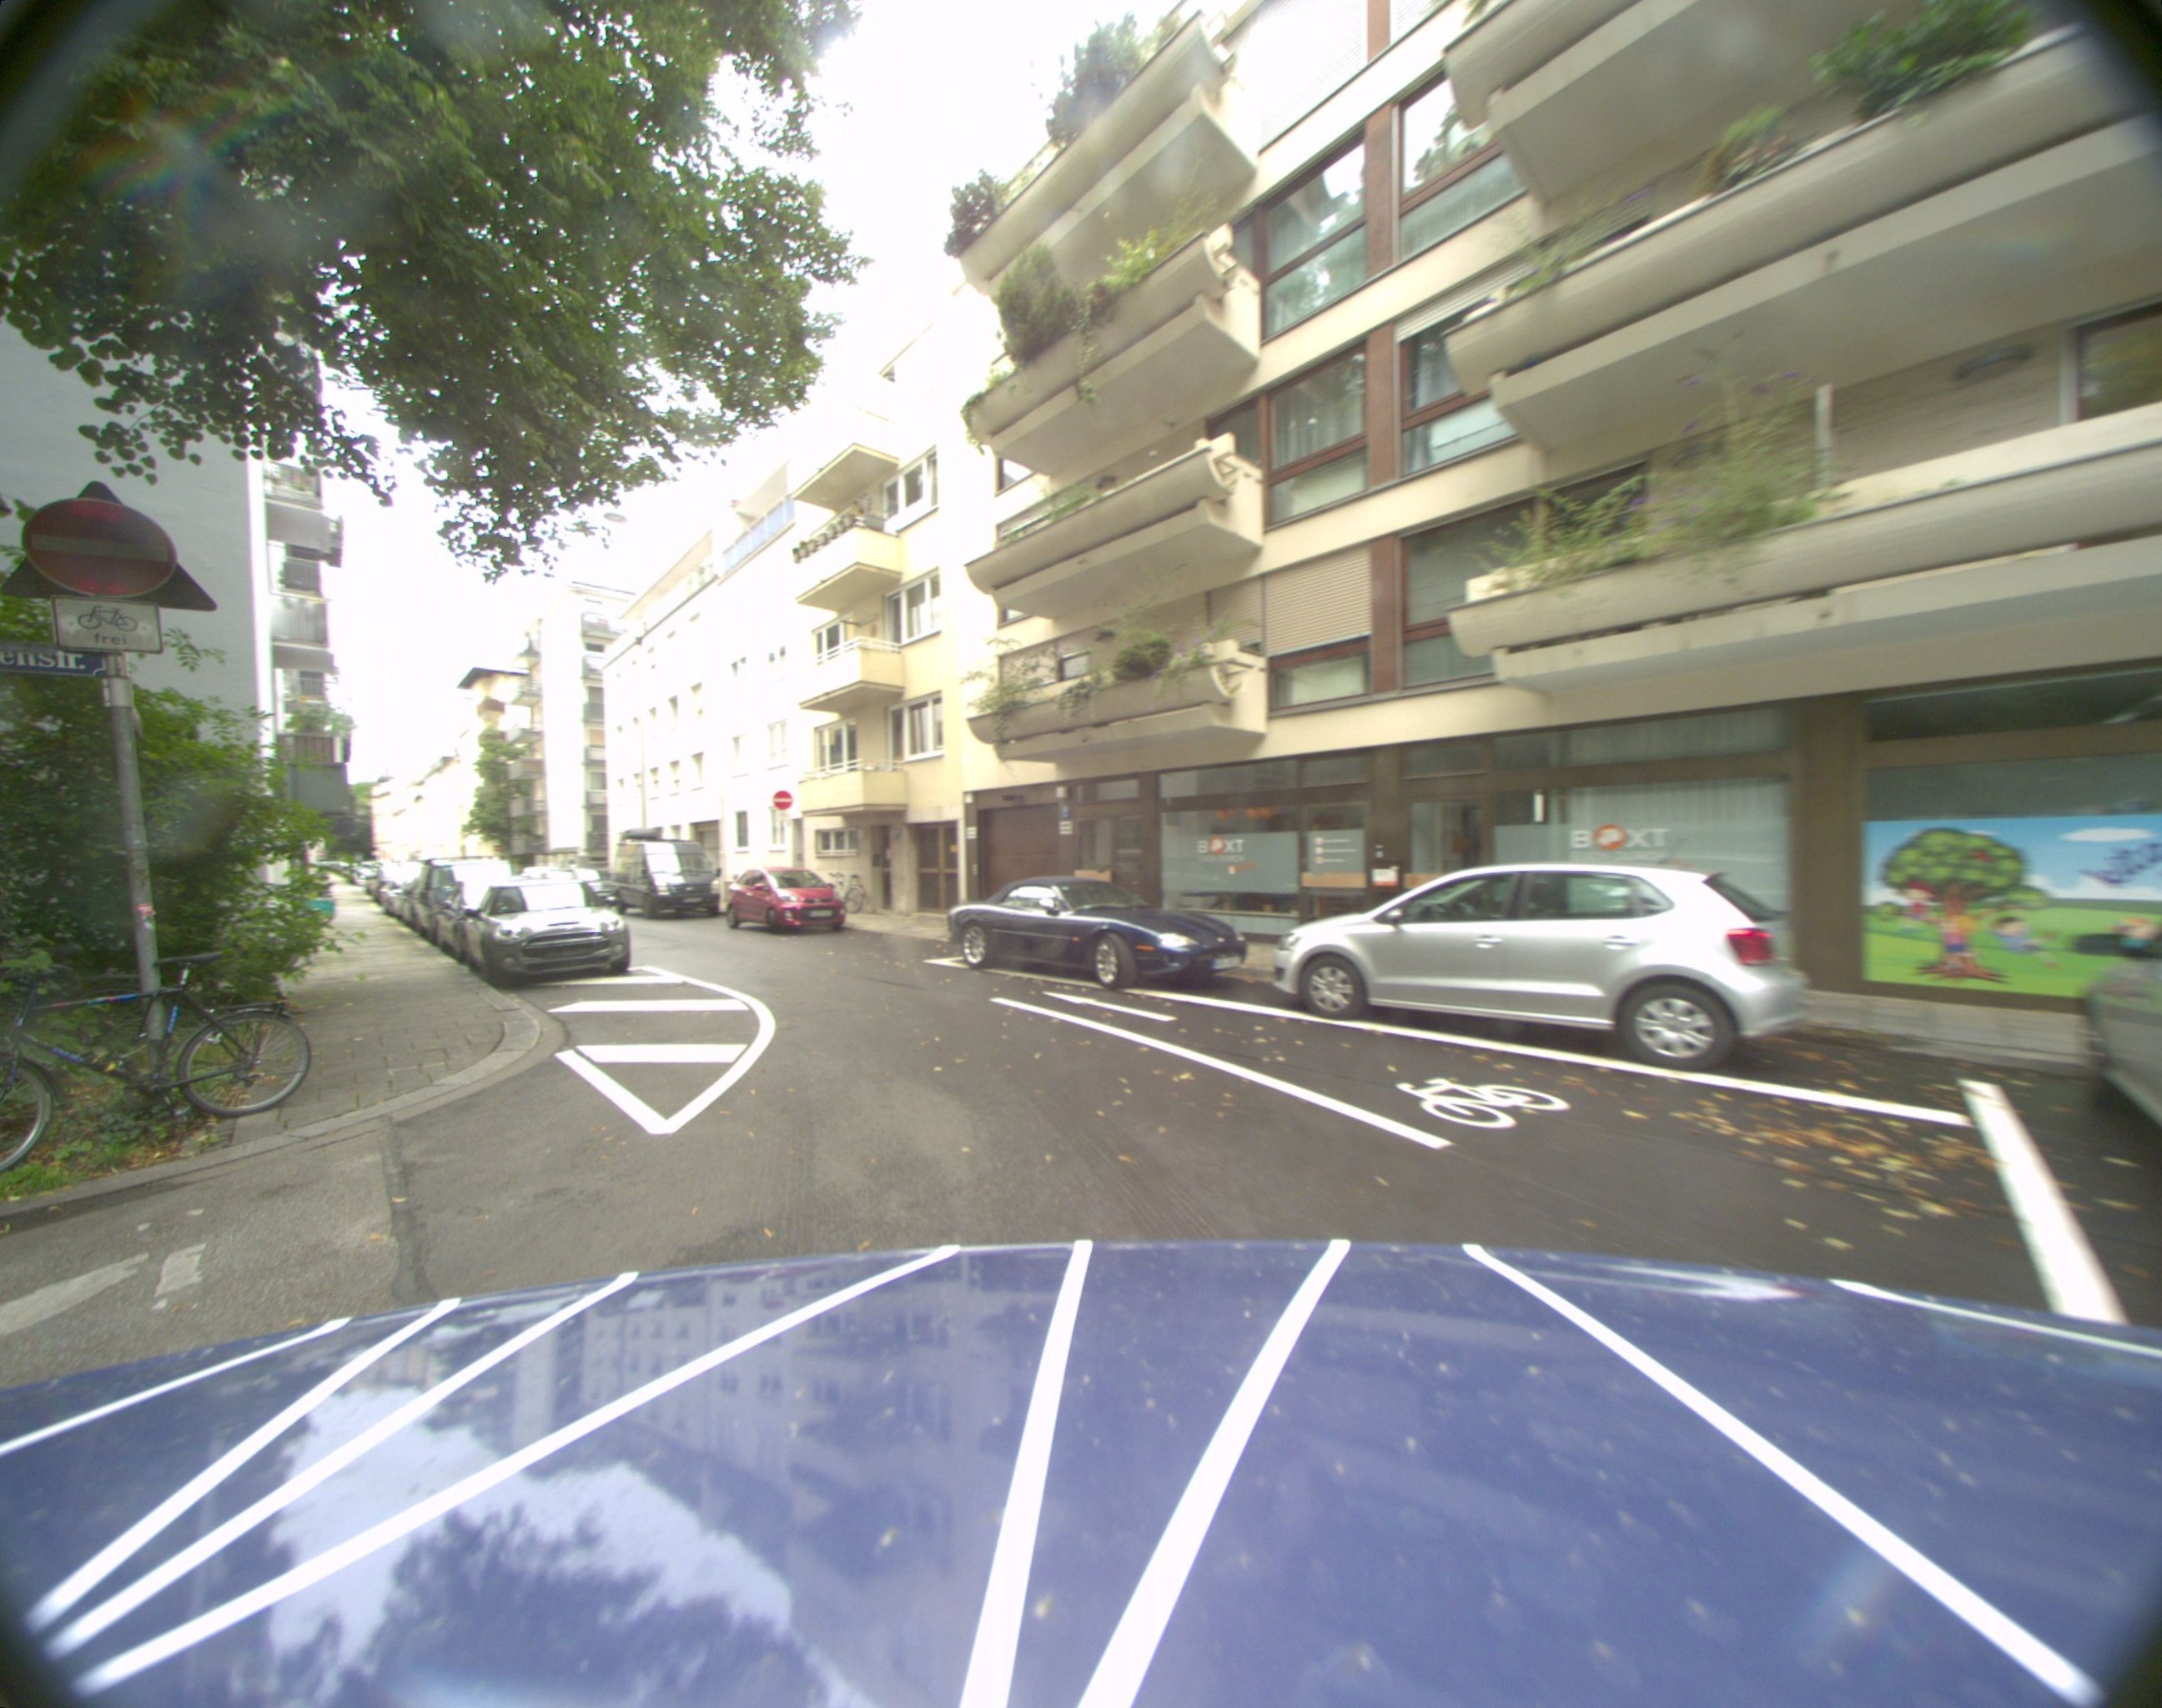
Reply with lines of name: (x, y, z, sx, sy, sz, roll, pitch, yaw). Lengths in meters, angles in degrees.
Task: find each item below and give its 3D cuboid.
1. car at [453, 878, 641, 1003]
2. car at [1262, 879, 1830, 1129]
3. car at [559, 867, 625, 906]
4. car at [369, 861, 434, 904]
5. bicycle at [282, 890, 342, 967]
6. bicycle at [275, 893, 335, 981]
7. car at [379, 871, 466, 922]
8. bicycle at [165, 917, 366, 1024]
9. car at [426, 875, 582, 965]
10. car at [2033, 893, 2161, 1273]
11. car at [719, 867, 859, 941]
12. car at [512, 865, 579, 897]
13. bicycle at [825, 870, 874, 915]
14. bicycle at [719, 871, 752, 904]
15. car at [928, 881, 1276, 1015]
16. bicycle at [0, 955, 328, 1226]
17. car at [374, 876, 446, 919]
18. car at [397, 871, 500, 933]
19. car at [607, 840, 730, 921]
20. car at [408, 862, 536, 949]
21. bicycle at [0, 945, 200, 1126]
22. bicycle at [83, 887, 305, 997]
car: (-8.246, 1.157, 11.584, 1.752, 1.432, 3.988, -2, 1, -43)
car: (3.632, 0.953, 6.412, 3.822, 1.413, 1.569, -1, -1, 45)
car: (-20.198, 1.292, 31.338, 1.620, 1.438, 3.732, 1, -1, -43)
car: (-33.568, 1.329, 37.464, 5.169, 1.829, 1.992, 0, 3, 45)
bicycle: (-13.801, 1.283, 13.610, 2.242, 1.213, 0.626, -1, 2, 43)
bicycle: (-12.201, 1.261, 11.986, 0.562, 1.213, 1.912, -4, 2, -44)
car: (-22.740, 1.389, 26.177, 4.249, 1.423, 1.768, 0, 4, 44)
bicycle: (-8.976, 1.274, 8.396, 1.634, 1.050, 0.451, -2, 1, -2)
car: (-11.433, 1.170, 14.957, 4.046, 1.411, 1.843, 0, 1, 45)
car: (5.364, 0.927, 2.891, 4.251, 1.446, 1.716, 2, -2, -45)
car: (-6.852, 1.071, 17.663, 3.698, 1.488, 1.628, 0, 1, 45)
car: (-26.966, 1.299, 38.211, 1.922, 1.429, 4.794, -2, 1, -45)
bicycle: (-6.272, 1.014, 20.525, 0.470, 1.142, 1.755, -3, 2, -44)
bicycle: (-12.504, 1.188, 27.458, 0.465, 1.091, 1.865, -3, 2, -43)
car: (0.049, 1.033, 9.994, 1.807, 1.270, 4.603, 0, -1, -45)
bicycle: (-5.513, 1.263, 4.268, 0.553, 1.131, 1.774, -1, 1, 11)
car: (-26.166, 1.646, 29.584, 4.190, 1.421, 1.743, 0, 1, 44)
car: (-18.978, 1.342, 22.716, 1.916, 1.545, 4.611, -2, 1, -45)
car: (-13.030, 0.741, 23.830, 2.029, 2.265, 5.375, 0, 0, -44)
car: (-15.003, 1.124, 18.618, 1.884, 1.781, 4.768, -2, 1, -45)
bicycle: (-7.351, 1.265, 5.176, 0.604, 1.050, 1.638, -1, 1, 31)
bicycle: (-11.862, 1.126, 10.235, 0.576, 1.223, 1.857, -1, 2, 38)
